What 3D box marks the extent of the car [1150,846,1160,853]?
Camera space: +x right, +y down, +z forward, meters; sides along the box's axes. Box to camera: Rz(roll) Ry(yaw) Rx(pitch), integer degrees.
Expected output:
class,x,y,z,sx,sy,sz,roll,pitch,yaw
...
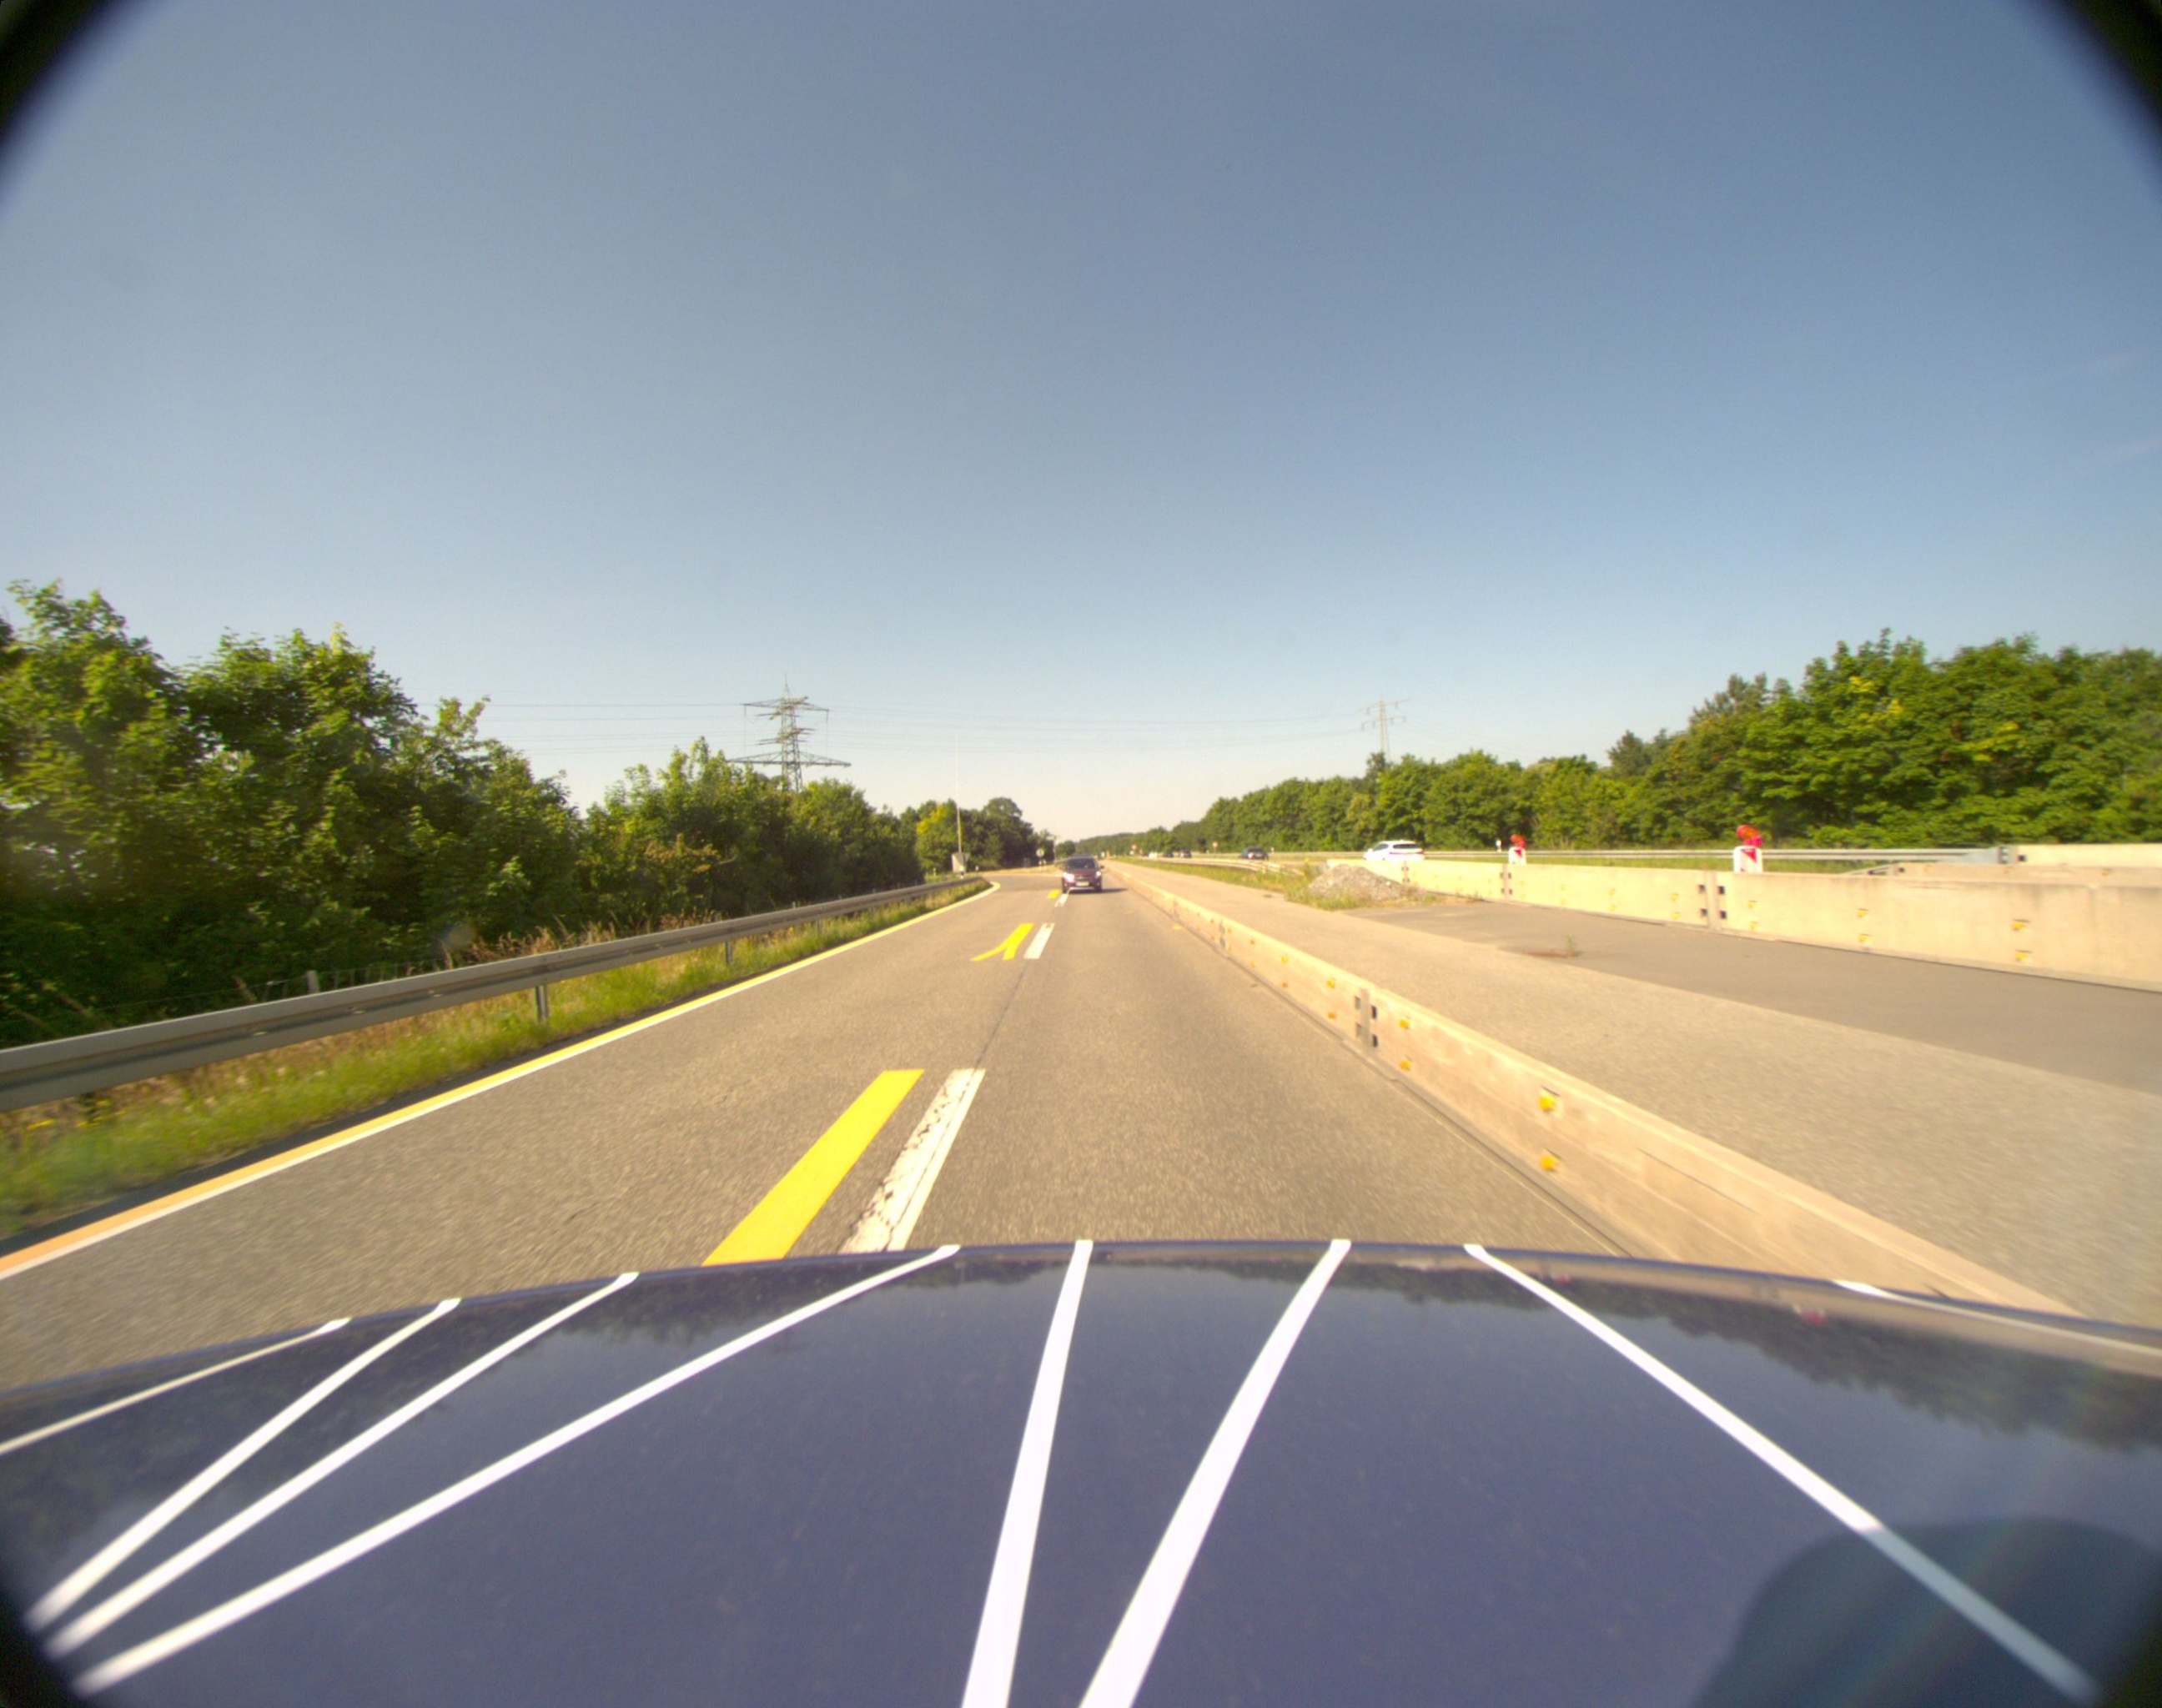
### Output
class,x,y,z,sx,sy,sz,roll,pitch,yaw
car,17.156,-1.020,177.102,1.764,1.462,4.794,-4,0,0

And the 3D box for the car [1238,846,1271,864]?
class,x,y,z,sx,sy,sz,roll,pitch,yaw
car,14.785,0.072,64.963,1.844,1.432,4.813,-2,0,2

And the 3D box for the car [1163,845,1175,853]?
class,x,y,z,sx,sy,sz,roll,pitch,yaw
car,16.318,-0.868,141.207,1.820,1.479,5.023,-1,0,2

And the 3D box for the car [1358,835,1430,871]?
class,x,y,z,sx,sy,sz,roll,pitch,yaw
car,15.144,-0.066,37.036,1.821,1.599,4.439,-2,0,3

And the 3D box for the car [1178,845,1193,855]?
class,x,y,z,sx,sy,sz,roll,pitch,yaw
car,16.951,-0.634,123.526,1.801,1.426,4.592,-3,0,1

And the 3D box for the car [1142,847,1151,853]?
class,x,y,z,sx,sy,sz,roll,pitch,yaw
car,16.840,-1.000,195.786,1.743,1.485,4.109,-3,0,0

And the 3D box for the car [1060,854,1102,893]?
class,x,y,z,sx,sy,sz,roll,pitch,yaw
car,0.060,0.790,32.126,1.587,1.491,4.416,-2,0,2
